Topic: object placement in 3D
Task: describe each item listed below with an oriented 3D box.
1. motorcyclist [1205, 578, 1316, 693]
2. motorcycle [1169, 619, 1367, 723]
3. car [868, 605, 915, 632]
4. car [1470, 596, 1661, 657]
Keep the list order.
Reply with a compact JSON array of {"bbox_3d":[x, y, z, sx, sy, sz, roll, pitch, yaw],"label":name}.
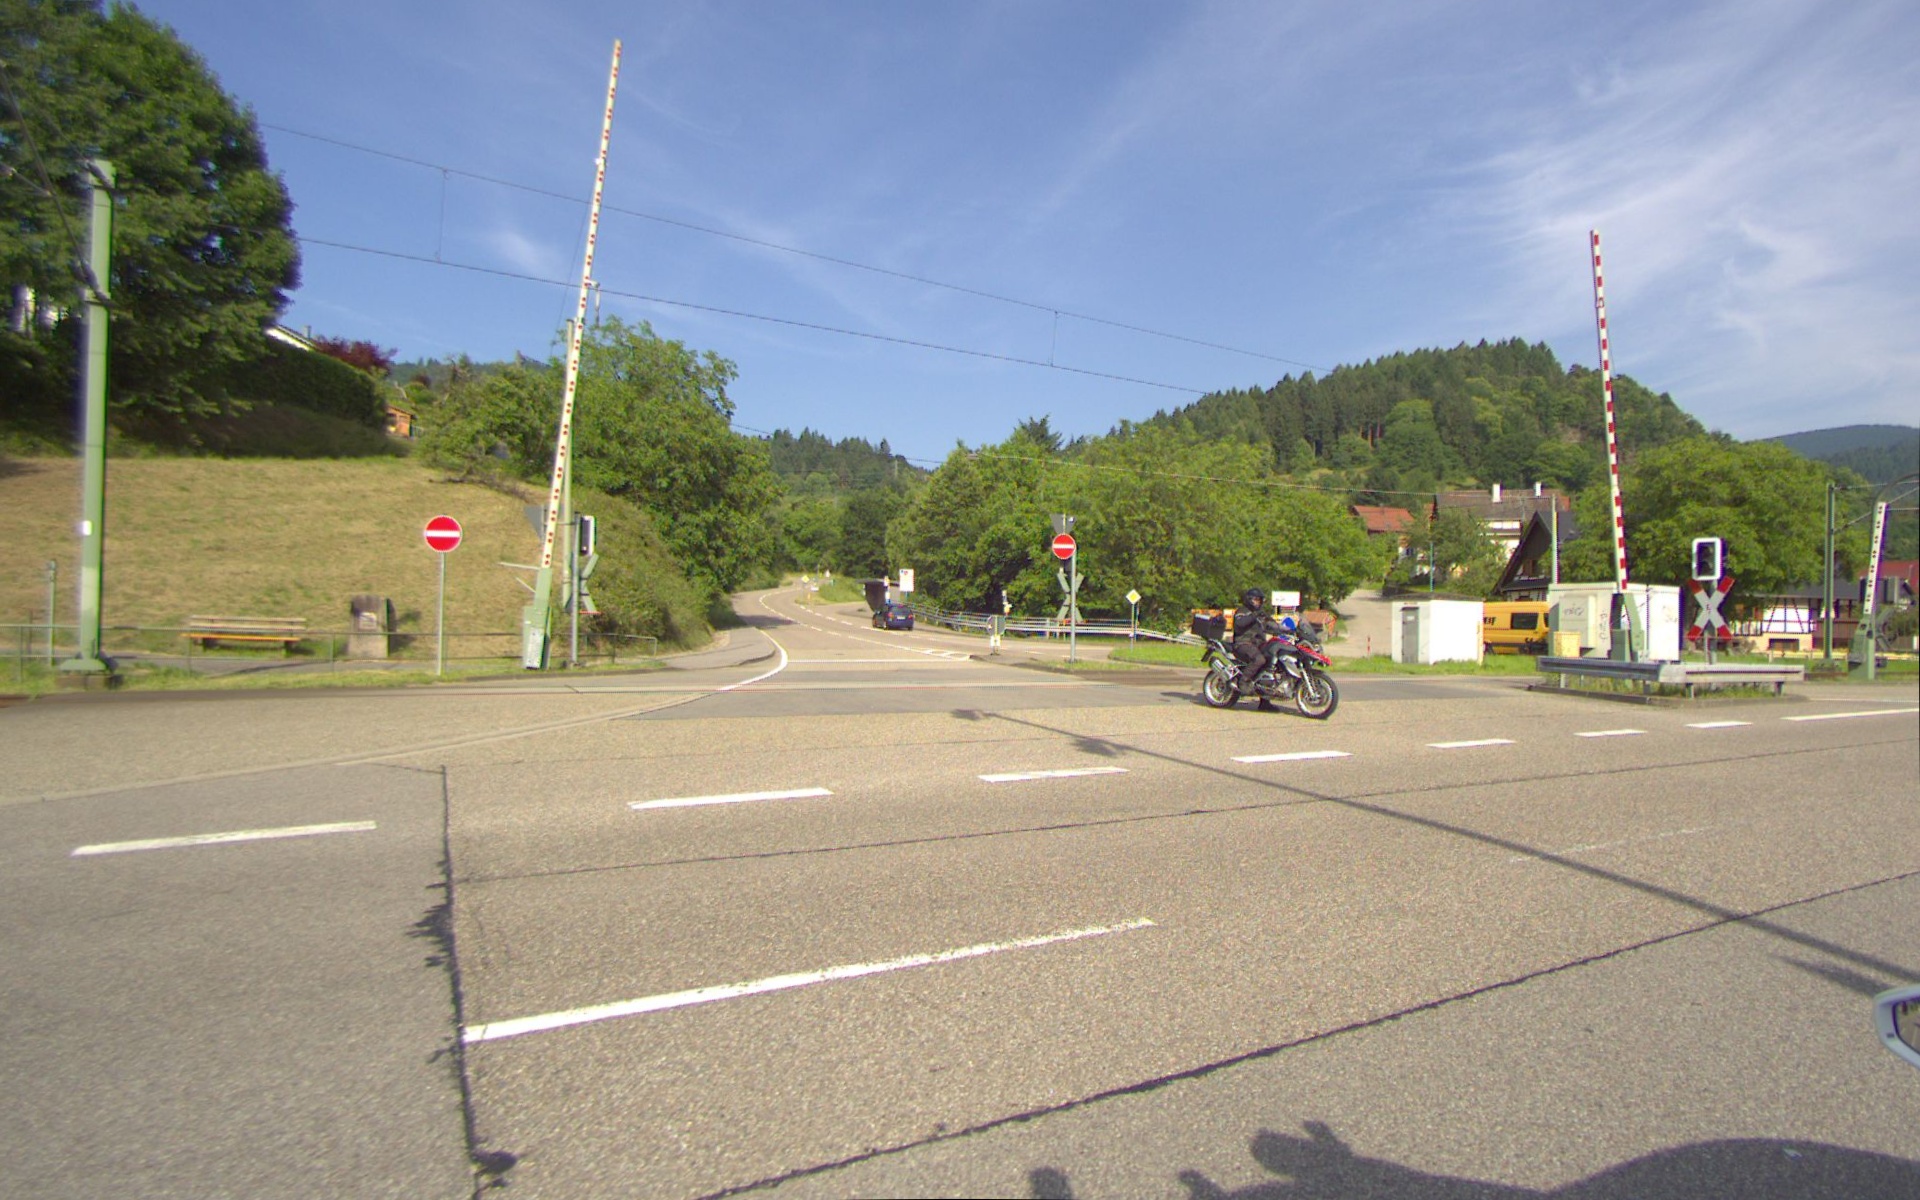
[{"bbox_3d":[4.366,0.494,14.613,0.985,1.565,1.170,1,1,-44],"label":"motorcyclist"},{"bbox_3d":[4.412,0.971,14.567,0.999,1.285,2.559,1,0,-44],"label":"motorcycle"},{"bbox_3d":[-4.210,1.109,61.408,1.920,1.550,3.983,1,-1,-19],"label":"car"},{"bbox_3d":[26.764,1.104,44.856,2.904,2.489,7.054,1,0,-20],"label":"car"}]
